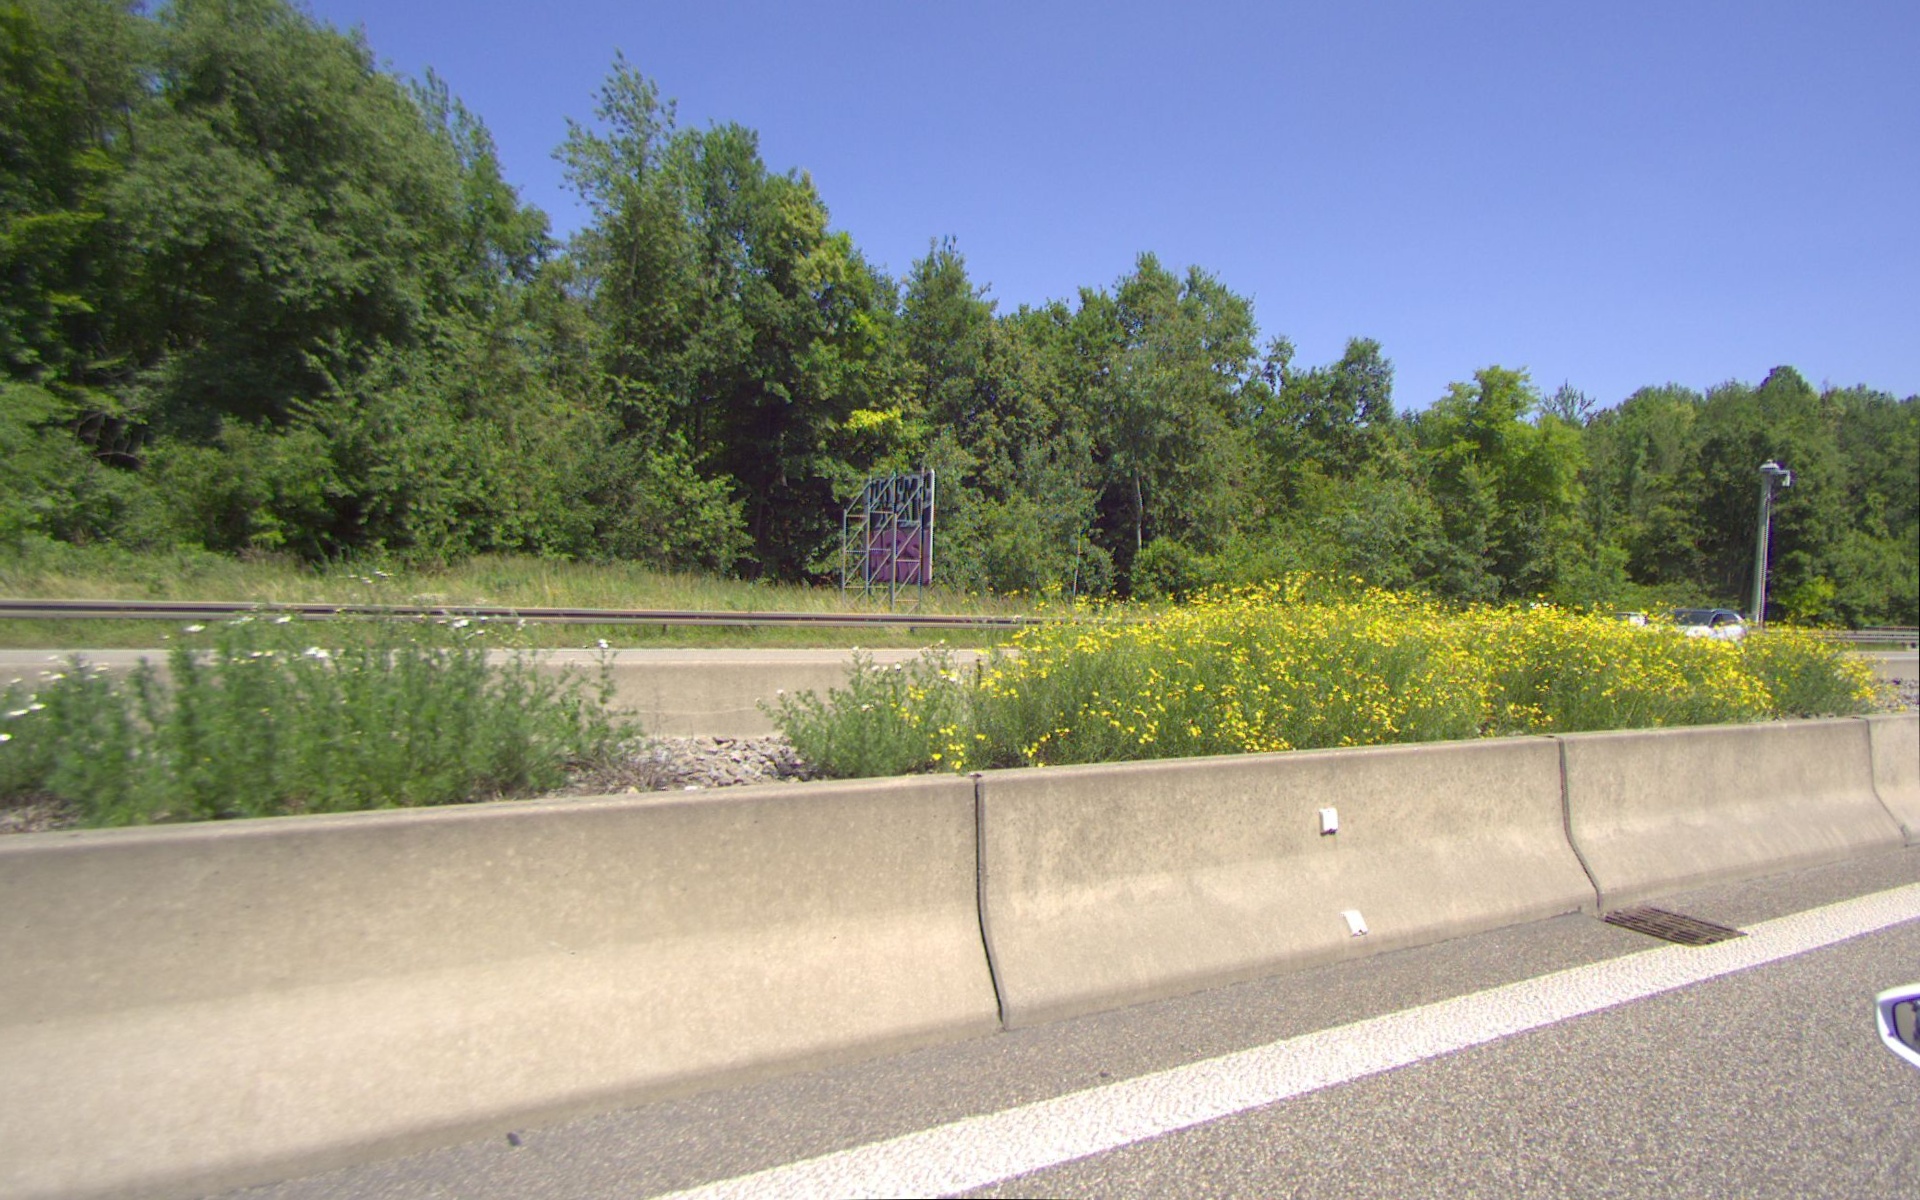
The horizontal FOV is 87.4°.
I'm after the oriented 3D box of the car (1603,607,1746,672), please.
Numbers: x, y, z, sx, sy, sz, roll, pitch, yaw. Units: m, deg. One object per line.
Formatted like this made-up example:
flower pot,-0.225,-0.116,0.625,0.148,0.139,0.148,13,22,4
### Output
car,20.551,1.112,28.868,4.097,1.731,1.787,1,0,-30
